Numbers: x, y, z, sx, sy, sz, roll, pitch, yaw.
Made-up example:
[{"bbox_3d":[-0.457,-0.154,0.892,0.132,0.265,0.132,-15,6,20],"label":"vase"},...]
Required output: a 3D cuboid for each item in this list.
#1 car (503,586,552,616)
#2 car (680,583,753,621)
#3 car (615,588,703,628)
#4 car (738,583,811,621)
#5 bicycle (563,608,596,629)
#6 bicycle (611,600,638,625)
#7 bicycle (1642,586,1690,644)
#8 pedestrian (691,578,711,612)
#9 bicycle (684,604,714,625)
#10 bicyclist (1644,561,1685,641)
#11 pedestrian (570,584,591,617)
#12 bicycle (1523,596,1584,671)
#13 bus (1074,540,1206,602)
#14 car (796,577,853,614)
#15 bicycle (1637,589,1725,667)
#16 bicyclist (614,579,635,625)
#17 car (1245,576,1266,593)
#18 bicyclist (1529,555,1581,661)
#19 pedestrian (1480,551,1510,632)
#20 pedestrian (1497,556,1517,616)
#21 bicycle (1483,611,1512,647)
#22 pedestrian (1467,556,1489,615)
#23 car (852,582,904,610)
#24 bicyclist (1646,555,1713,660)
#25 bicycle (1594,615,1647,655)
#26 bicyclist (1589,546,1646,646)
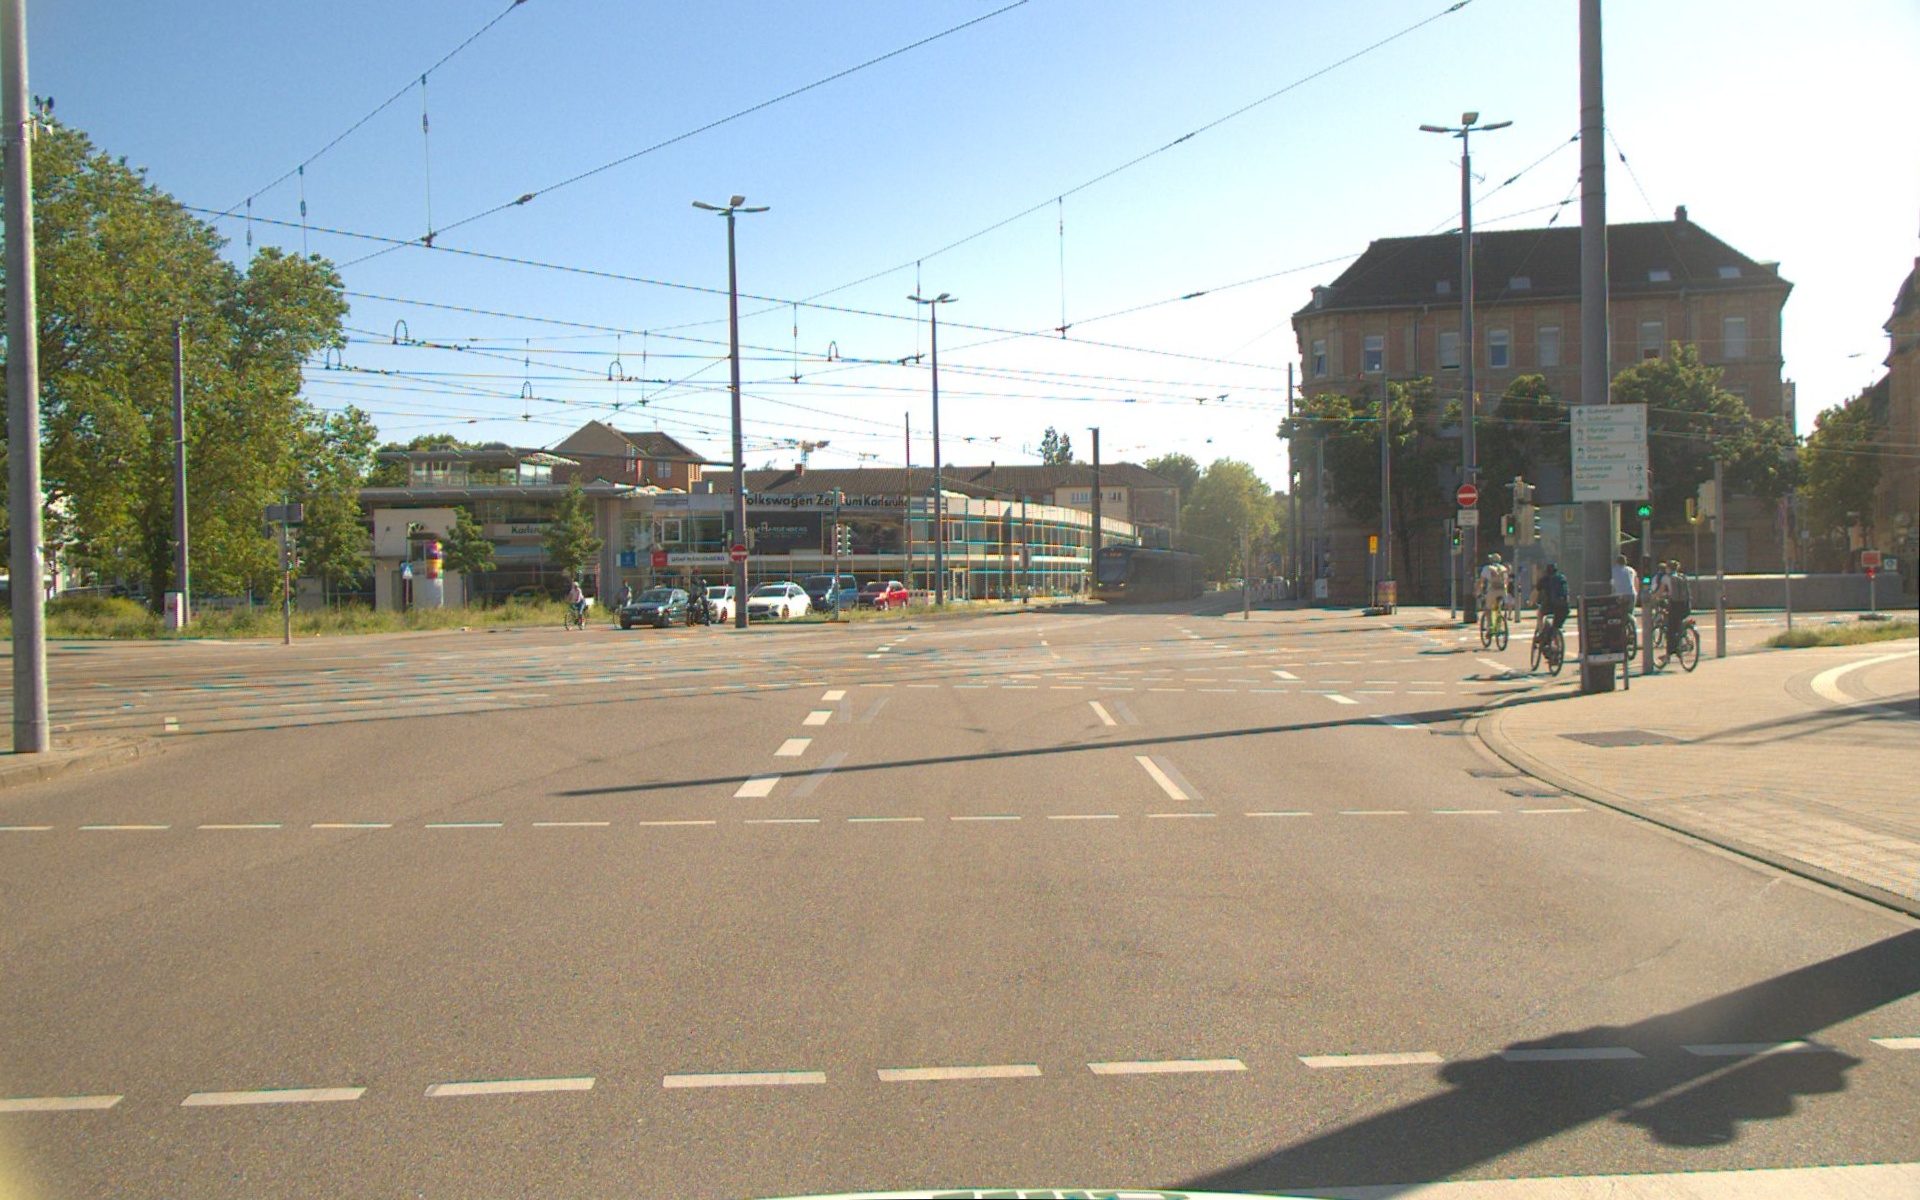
[{"bbox_3d":[-25.975,0.041,99.471,1.926,1.735,4.083,-1,1,-1],"label":"car"},{"bbox_3d":[-9.788,0.057,66.669,1.591,1.448,3.689,-1,1,14],"label":"car"},{"bbox_3d":[-11.012,0.267,60.696,1.667,1.378,3.703,-1,1,16],"label":"car"},{"bbox_3d":[-7.236,0.067,64.826,1.591,1.406,3.741,-1,1,14],"label":"car"},{"bbox_3d":[-14.088,0.677,61.252,0.414,0.730,1.475,-1,1,23],"label":"bicycle"},{"bbox_3d":[-12.868,0.471,63.454,0.458,0.943,1.476,-1,1,12],"label":"bicycle"},{"bbox_3d":[14.586,0.291,34.218,0.559,1.145,1.742,-3,0,13],"label":"bicycle"},{"bbox_3d":[-9.442,-0.185,60.242,0.413,1.225,0.750,-1,0,16],"label":"pedestrian"},{"bbox_3d":[-9.493,0.532,60.095,0.413,0.730,1.636,-1,1,16],"label":"bicycle"},{"bbox_3d":[14.552,0.014,34.171,0.559,1.596,0.947,-3,0,13],"label":"bicyclist"},{"bbox_3d":[-14.071,0.019,61.321,0.414,1.225,0.680,-1,0,23],"label":"pedestrian"},{"bbox_3d":[9.647,0.525,26.937,0.612,1.133,1.853,-1,2,9],"label":"bicycle"},{"bbox_3d":[12.540,-1.736,110.943,3.756,3.670,24.877,1,0,18],"label":"bus"},{"bbox_3d":[-6.424,-0.241,78.855,1.591,1.722,3.689,-1,1,14],"label":"car"},{"bbox_3d":[11.428,0.425,26.278,0.670,1.184,1.884,-1,0,4],"label":"bicycle"},{"bbox_3d":[-12.868,0.057,63.419,0.556,1.743,0.649,-1,0,12],"label":"bicyclist"},{"bbox_3d":[27.843,-1.466,155.603,1.663,1.529,4.268,-1,1,14],"label":"car"},{"bbox_3d":[9.609,0.120,26.750,0.612,1.666,0.996,-1,1,9],"label":"bicyclist"},{"bbox_3d":[10.734,-0.167,33.174,0.537,1.590,0.858,-1,0,19],"label":"pedestrian"},{"bbox_3d":[18.843,-0.473,56.950,0.453,2.049,0.449,-1,1,-18],"label":"pedestrian"},{"bbox_3d":[10.795,0.573,33.184,0.525,0.667,1.726,-1,1,18],"label":"bicycle"},{"bbox_3d":[18.227,-0.515,58.178,0.564,2.049,0.449,-1,1,-19],"label":"pedestrian"},{"bbox_3d":[-4.246,-0.206,86.015,1.591,1.388,3.688,-1,1,16],"label":"car"},{"bbox_3d":[11.445,0.110,26.333,0.671,1.626,0.978,-1,0,4],"label":"bicyclist"},{"bbox_3d":[12.235,0.644,30.650,0.525,0.667,1.469,-2,1,6],"label":"bicycle"},{"bbox_3d":[12.223,-0.079,30.770,0.731,1.809,0.925,-2,0,6],"label":"bicyclist"}]
